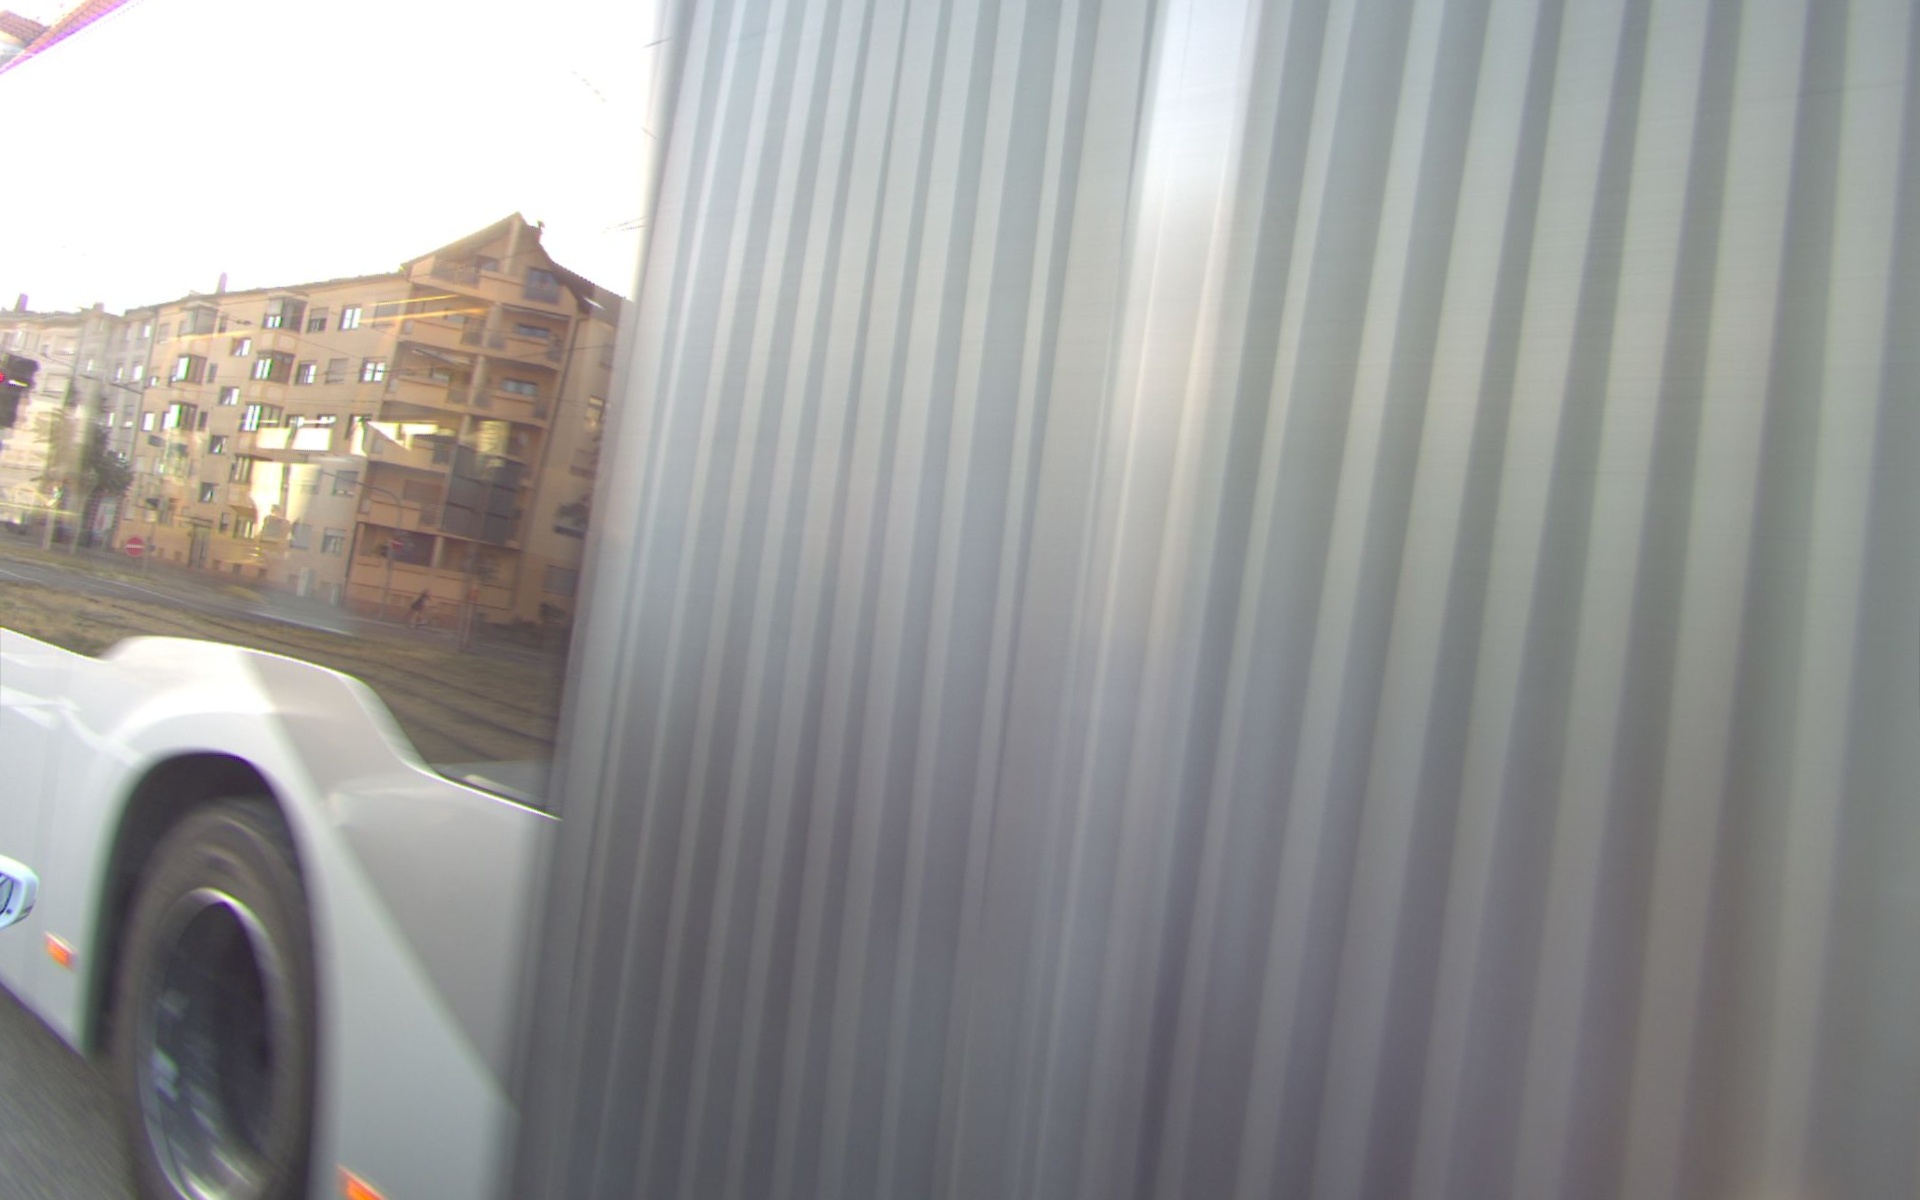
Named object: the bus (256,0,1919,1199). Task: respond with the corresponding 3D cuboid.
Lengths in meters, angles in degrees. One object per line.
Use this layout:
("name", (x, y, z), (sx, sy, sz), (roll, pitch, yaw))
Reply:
("bus", (3.420, 0.391, 0.442), (8.706, 3.092, 2.743), (7, -1, 32))

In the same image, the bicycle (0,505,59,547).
("bicycle", (-22.758, -1.802, 23.802), (0.772, 0.905, 1.983), (6, 1, 22))

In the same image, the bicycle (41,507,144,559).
("bicycle", (-23.228, -1.769, 26.981), (0.565, 1.107, 1.947), (7, -1, 29))

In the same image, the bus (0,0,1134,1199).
("bus", (-4.007, -0.494, 5.061), (8.979, 3.092, 2.743), (7, -1, 32))
